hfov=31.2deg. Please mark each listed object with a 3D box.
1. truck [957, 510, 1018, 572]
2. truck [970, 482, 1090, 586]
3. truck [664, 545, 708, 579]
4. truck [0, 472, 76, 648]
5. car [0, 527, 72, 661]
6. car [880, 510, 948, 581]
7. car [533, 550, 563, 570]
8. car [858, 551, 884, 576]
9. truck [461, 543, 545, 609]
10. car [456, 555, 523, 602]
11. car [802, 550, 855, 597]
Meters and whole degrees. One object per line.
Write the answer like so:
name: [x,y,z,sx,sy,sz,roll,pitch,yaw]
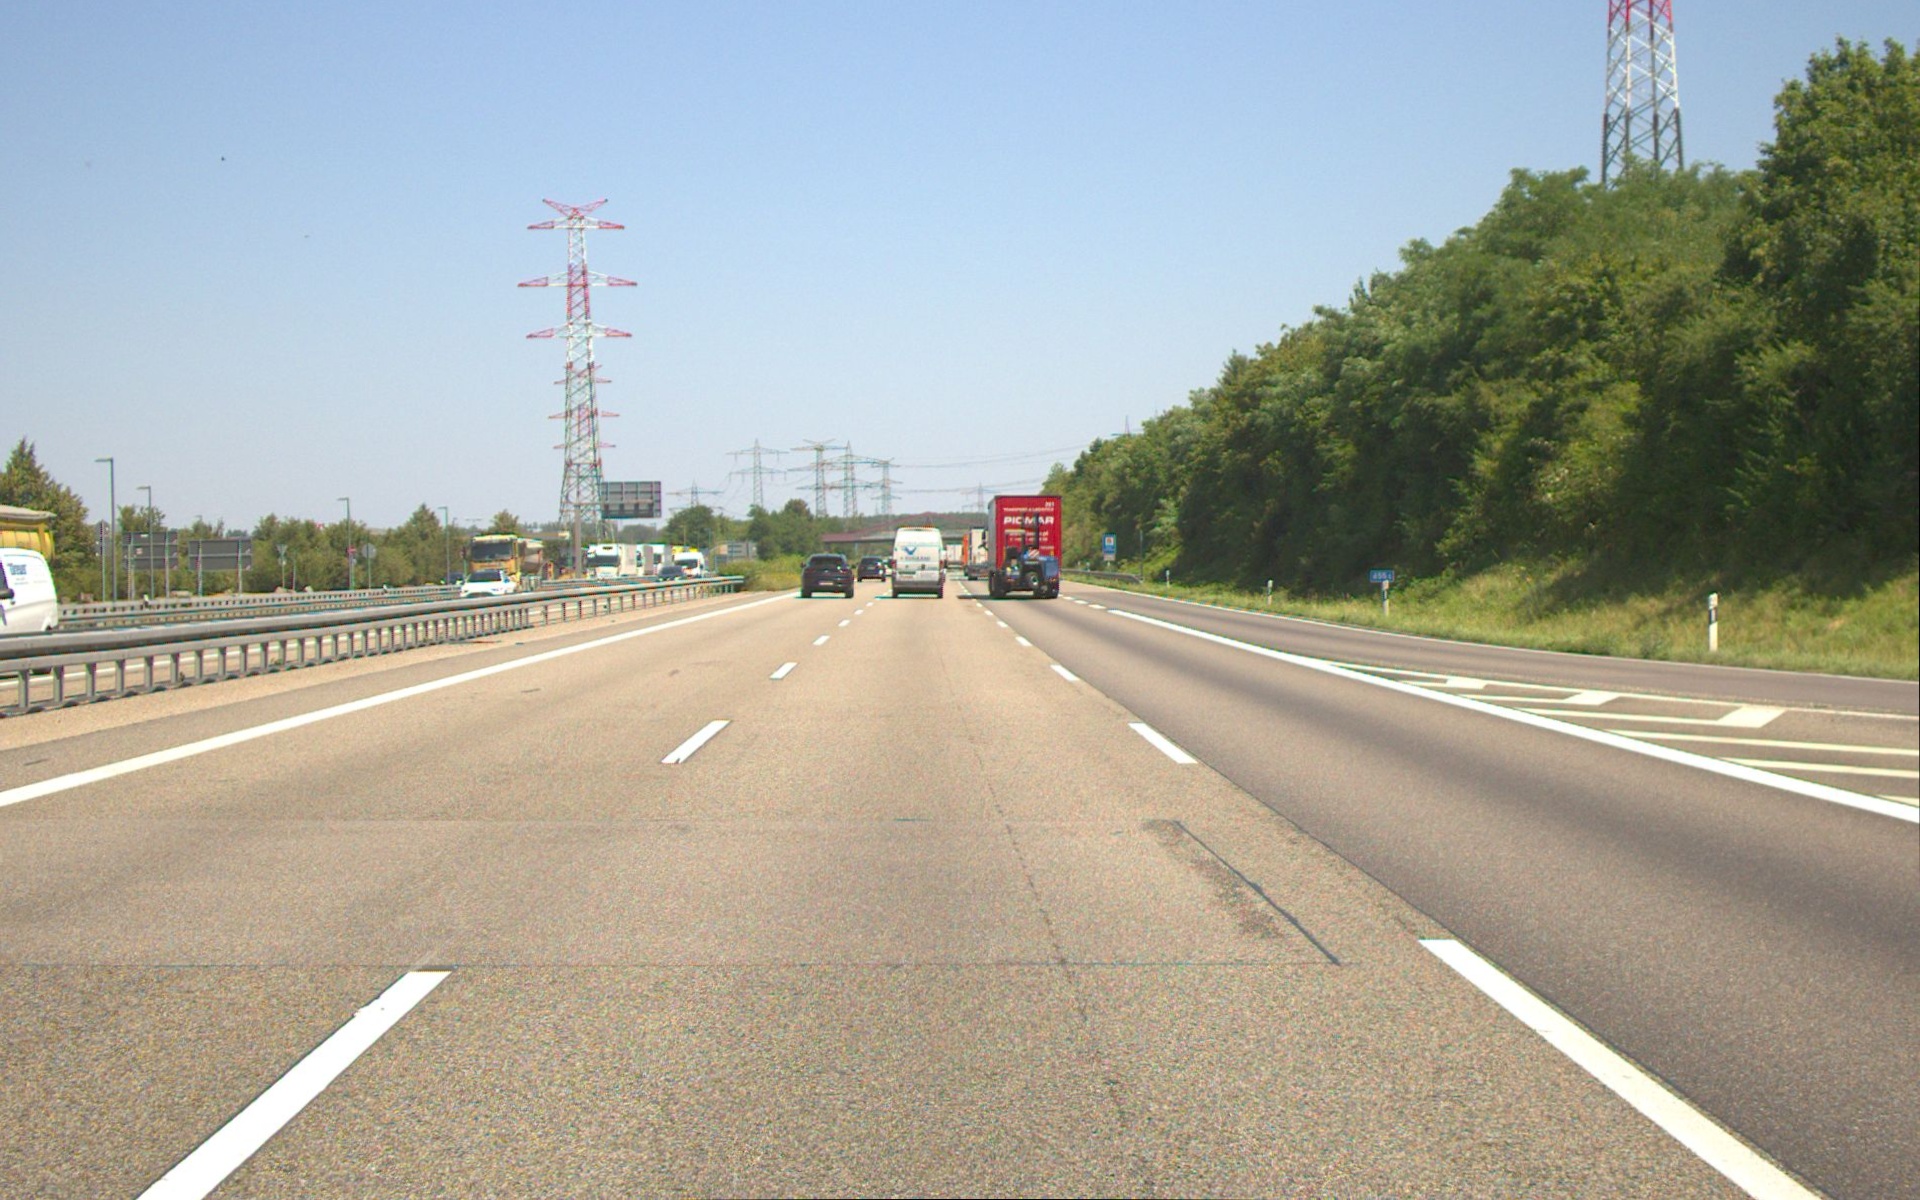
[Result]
truck: [2.036,-4.539,261.949,4.331,4.508,16.078,1,1,0]
truck: [2.703,-2.668,139.307,4.331,3.928,16.078,1,1,0]
truck: [-20.394,-2.836,256.157,2.717,2.413,8.107,-1,1,0]
truck: [-22.310,-0.833,73.906,3.171,3.797,13.531,-1,1,-1]
car: [-14.268,-0.085,48.486,2.052,1.836,5.943,-1,1,-1]
car: [-1.846,-2.194,137.445,2.621,2.749,6.097,1,1,-1]
car: [-30.559,-2.971,255.300,1.815,1.386,3.904,-1,1,-1]
car: [-6.108,-2.531,236.103,1.747,1.628,4.004,1,1,-1]
truck: [-23.455,-1.252,177.138,2.717,3.248,12.388,-1,1,0]
car: [-18.997,-0.886,139.071,2.052,1.836,5.473,-1,1,-1]
car: [-5.089,-1.036,133.382,1.993,1.744,4.000,1,1,-1]
